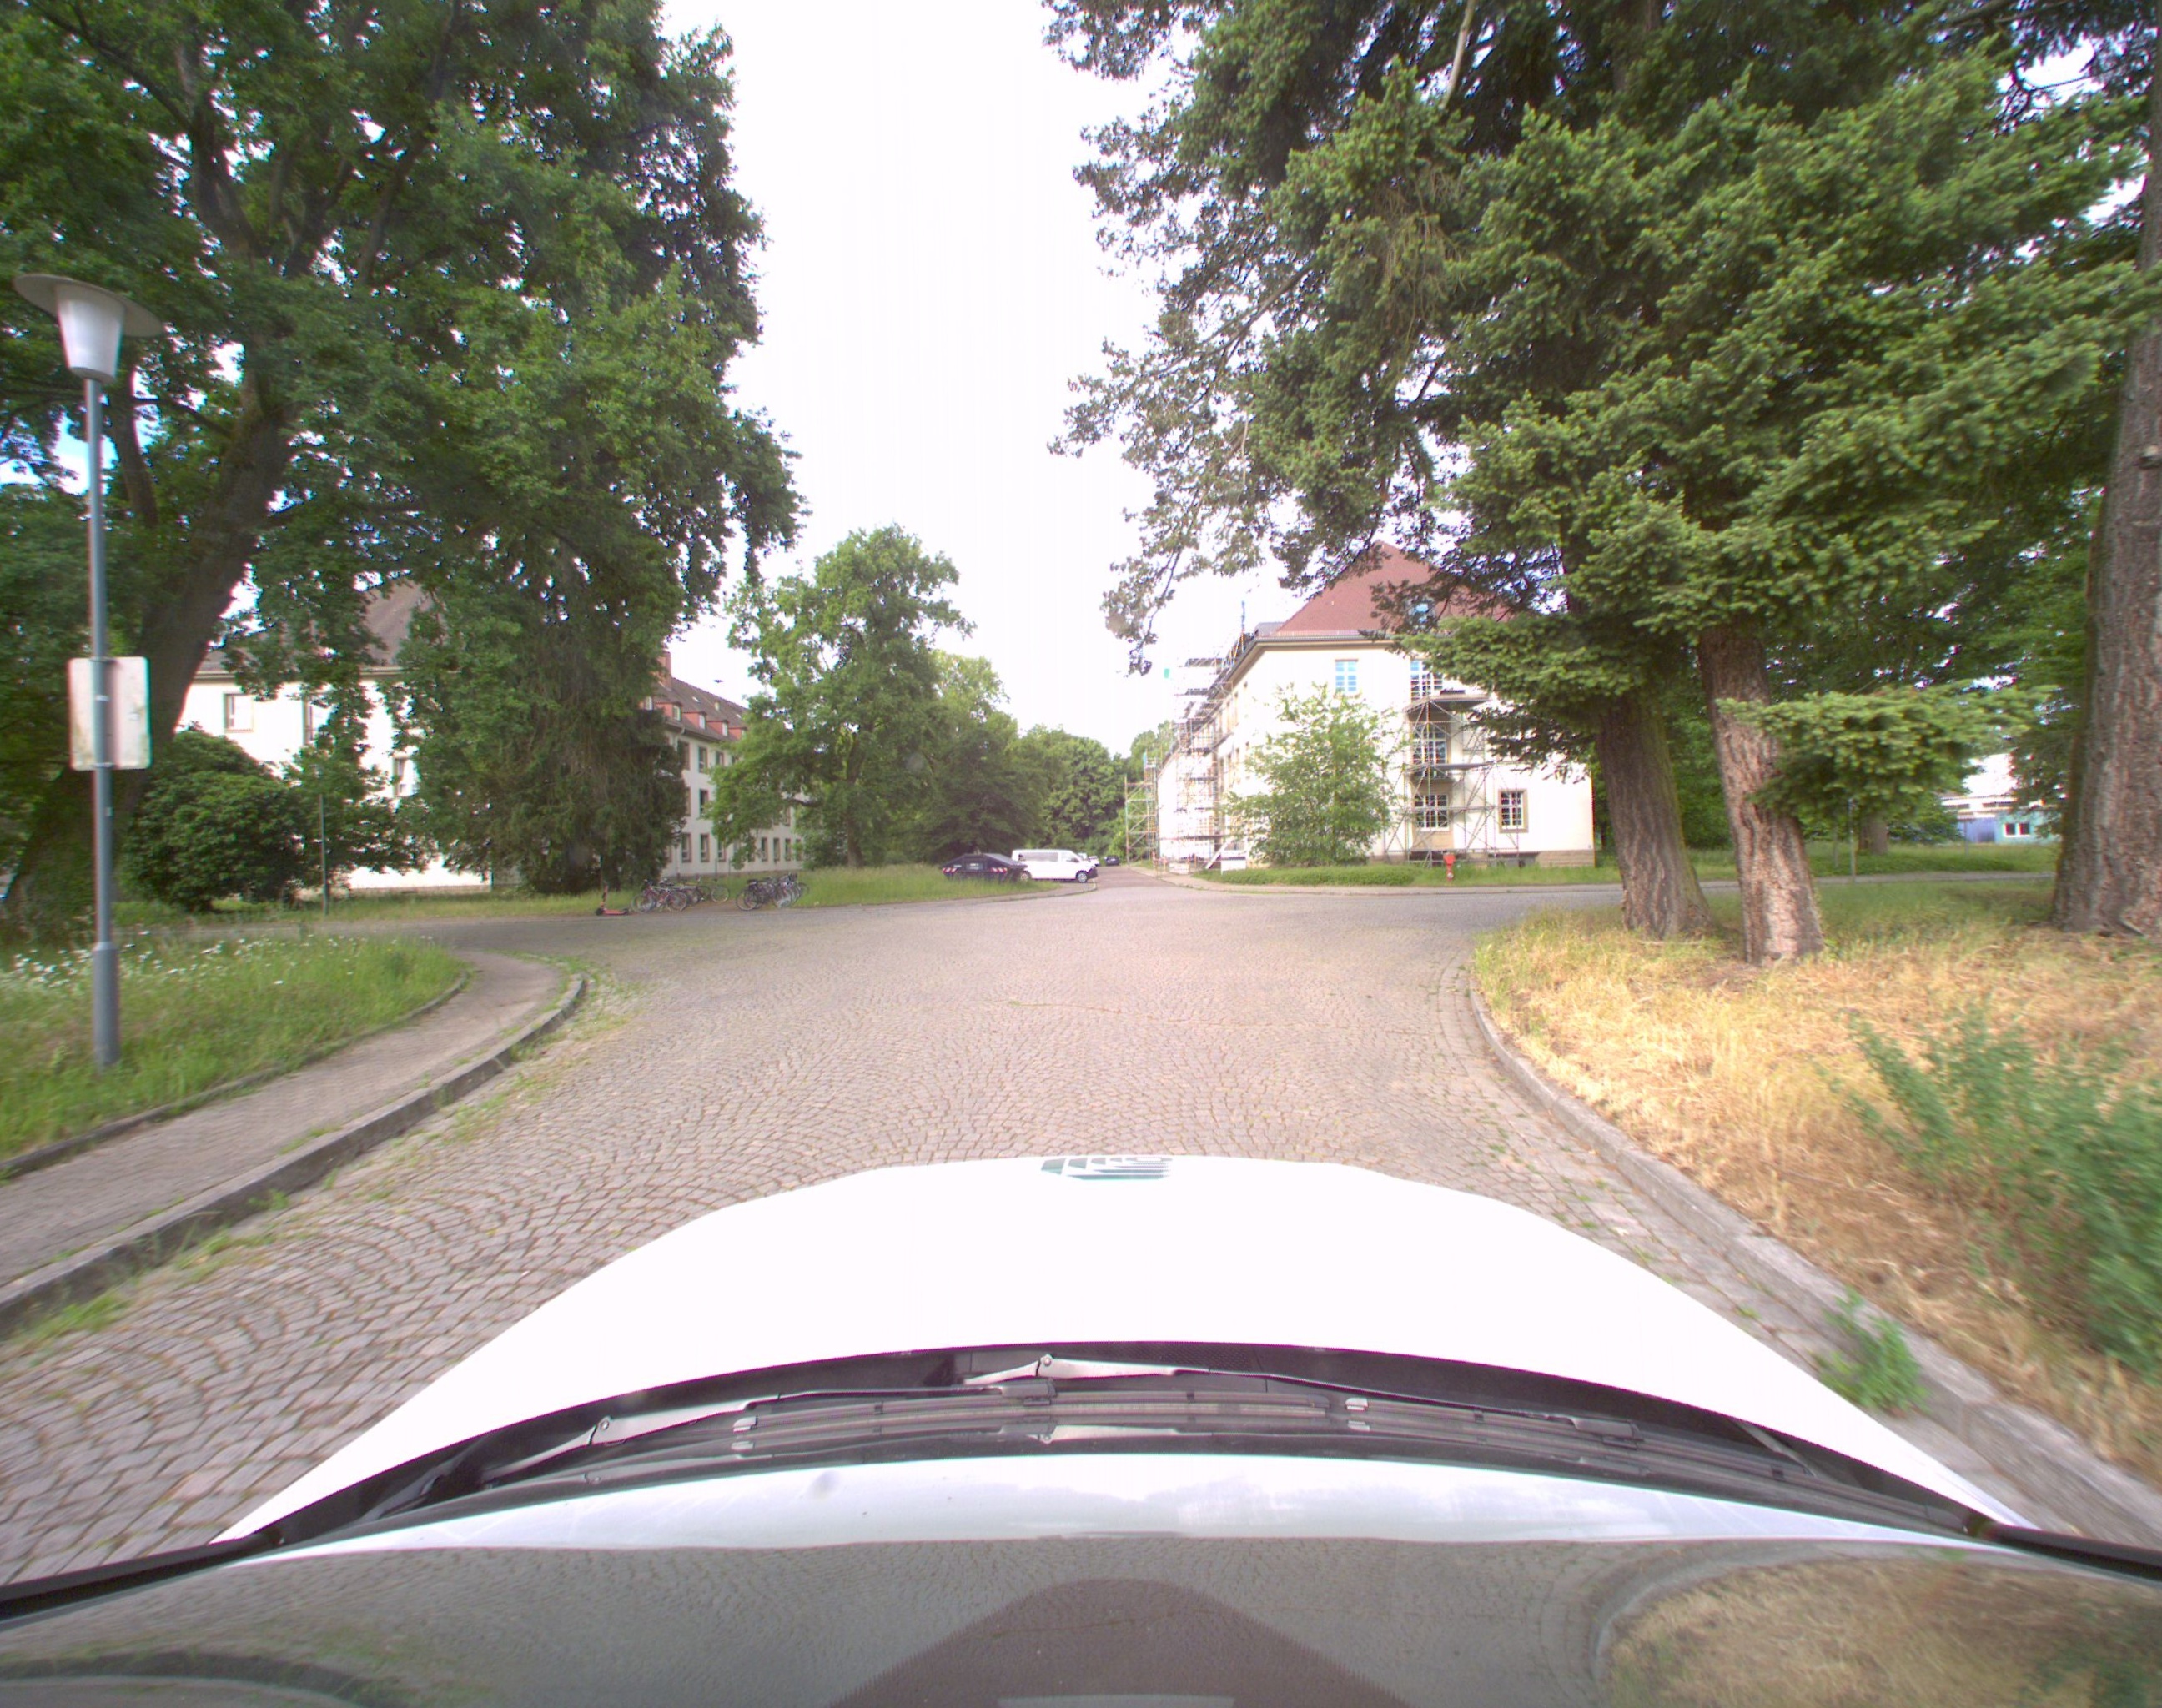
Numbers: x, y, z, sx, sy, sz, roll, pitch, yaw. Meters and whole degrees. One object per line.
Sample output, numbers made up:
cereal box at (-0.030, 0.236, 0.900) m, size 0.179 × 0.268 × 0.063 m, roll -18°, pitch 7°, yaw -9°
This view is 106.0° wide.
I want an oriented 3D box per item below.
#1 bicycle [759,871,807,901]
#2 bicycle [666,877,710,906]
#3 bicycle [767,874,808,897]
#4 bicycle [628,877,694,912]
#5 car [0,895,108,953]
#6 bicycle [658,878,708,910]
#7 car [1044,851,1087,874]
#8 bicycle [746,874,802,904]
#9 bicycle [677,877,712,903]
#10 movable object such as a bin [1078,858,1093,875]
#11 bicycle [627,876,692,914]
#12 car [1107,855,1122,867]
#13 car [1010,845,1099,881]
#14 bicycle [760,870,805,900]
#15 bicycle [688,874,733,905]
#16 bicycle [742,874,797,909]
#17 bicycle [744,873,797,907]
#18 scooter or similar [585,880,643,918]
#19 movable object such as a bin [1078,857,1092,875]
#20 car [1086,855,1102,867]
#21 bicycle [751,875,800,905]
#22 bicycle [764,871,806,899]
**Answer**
bicycle at (-12.390, 1.316, 33.891) m, size 1.776 × 1.105 × 0.538 m, roll -3°, pitch 2°, yaw -19°
bicycle at (-15.552, 1.487, 32.255) m, size 1.521 × 1.035 × 0.540 m, roll -2°, pitch 2°, yaw -29°
bicycle at (-12.798, 1.364, 35.489) m, size 1.621 × 0.910 × 0.523 m, roll -3°, pitch 2°, yaw -19°
bicycle at (-15.011, 1.439, 29.146) m, size 1.991 × 1.114 × 0.640 m, roll -1°, pitch 2°, yaw -19°
car at (-30.664, 1.975, 22.733) m, size 4.676 × 1.437 × 1.854 m, roll -2°, pitch 0°, yaw -1°
bicycle at (-15.043, 1.494, 30.809) m, size 1.634 × 1.073 × 0.534 m, roll -2°, pitch 2°, yaw -29°
car at (-1.481, 0.797, 76.276) m, size 3.979 × 2.014 × 1.919 m, roll 1°, pitch -1°, yaw -4°
bicycle at (-12.029, 1.348, 31.945) m, size 1.959 × 1.004 × 0.682 m, roll -3°, pitch 2°, yaw -19°
bicycle at (-16.366, 1.520, 34.497) m, size 1.263 × 1.029 × 0.431 m, roll -3°, pitch -2°, yaw -19°
movable object such as a bin at (0.404, 1.029, 68.429) m, size 1.179 × 1.407 × 0.975 m, roll 1°, pitch -1°, yaw 1°
bicycle at (-14.746, 1.425, 28.543) m, size 1.901 × 1.222 × 0.640 m, roll -1°, pitch 1°, yaw -19°
car at (4.736, 1.027, 114.917) m, size 2.054 × 1.593 × 4.003 m, roll 1°, pitch -1°, yaw 3°
car at (-1.533, 0.525, 48.702) m, size 5.184 × 2.060 × 2.187 m, roll 0°, pitch -1°, yaw -1°
bicycle at (-12.606, 1.298, 34.398) m, size 1.701 × 1.116 × 0.538 m, roll -3°, pitch 2°, yaw -19°
bicycle at (-15.094, 1.433, 33.190) m, size 1.647 × 1.185 × 0.569 m, roll -2°, pitch 2°, yaw -25°
bicycle at (-11.364, 1.351, 29.773) m, size 1.773 × 1.103 × 0.698 m, roll -3°, pitch 2°, yaw -19°
bicycle at (-11.592, 1.342, 30.465) m, size 1.799 × 1.103 × 0.698 m, roll -3°, pitch 2°, yaw -19°
scooter or similar at (-15.915, 1.536, 27.767) m, size 1.541 × 1.195 × 0.683 m, roll -2°, pitch 0°, yaw 4°
movable object such as a bin at (0.341, 1.002, 67.289) m, size 1.179 × 1.407 × 0.975 m, roll 1°, pitch -1°, yaw 1°
car at (1.808, 0.979, 114.667) m, size 1.996 × 1.548 × 3.955 m, roll 1°, pitch -1°, yaw -2°
bicycle at (-11.681, 1.364, 31.200) m, size 1.696 × 1.001 × 0.628 m, roll -3°, pitch 2°, yaw -19°
bicycle at (-12.708, 1.312, 34.957) m, size 1.621 × 1.058 × 0.523 m, roll -3°, pitch 2°, yaw -19°
